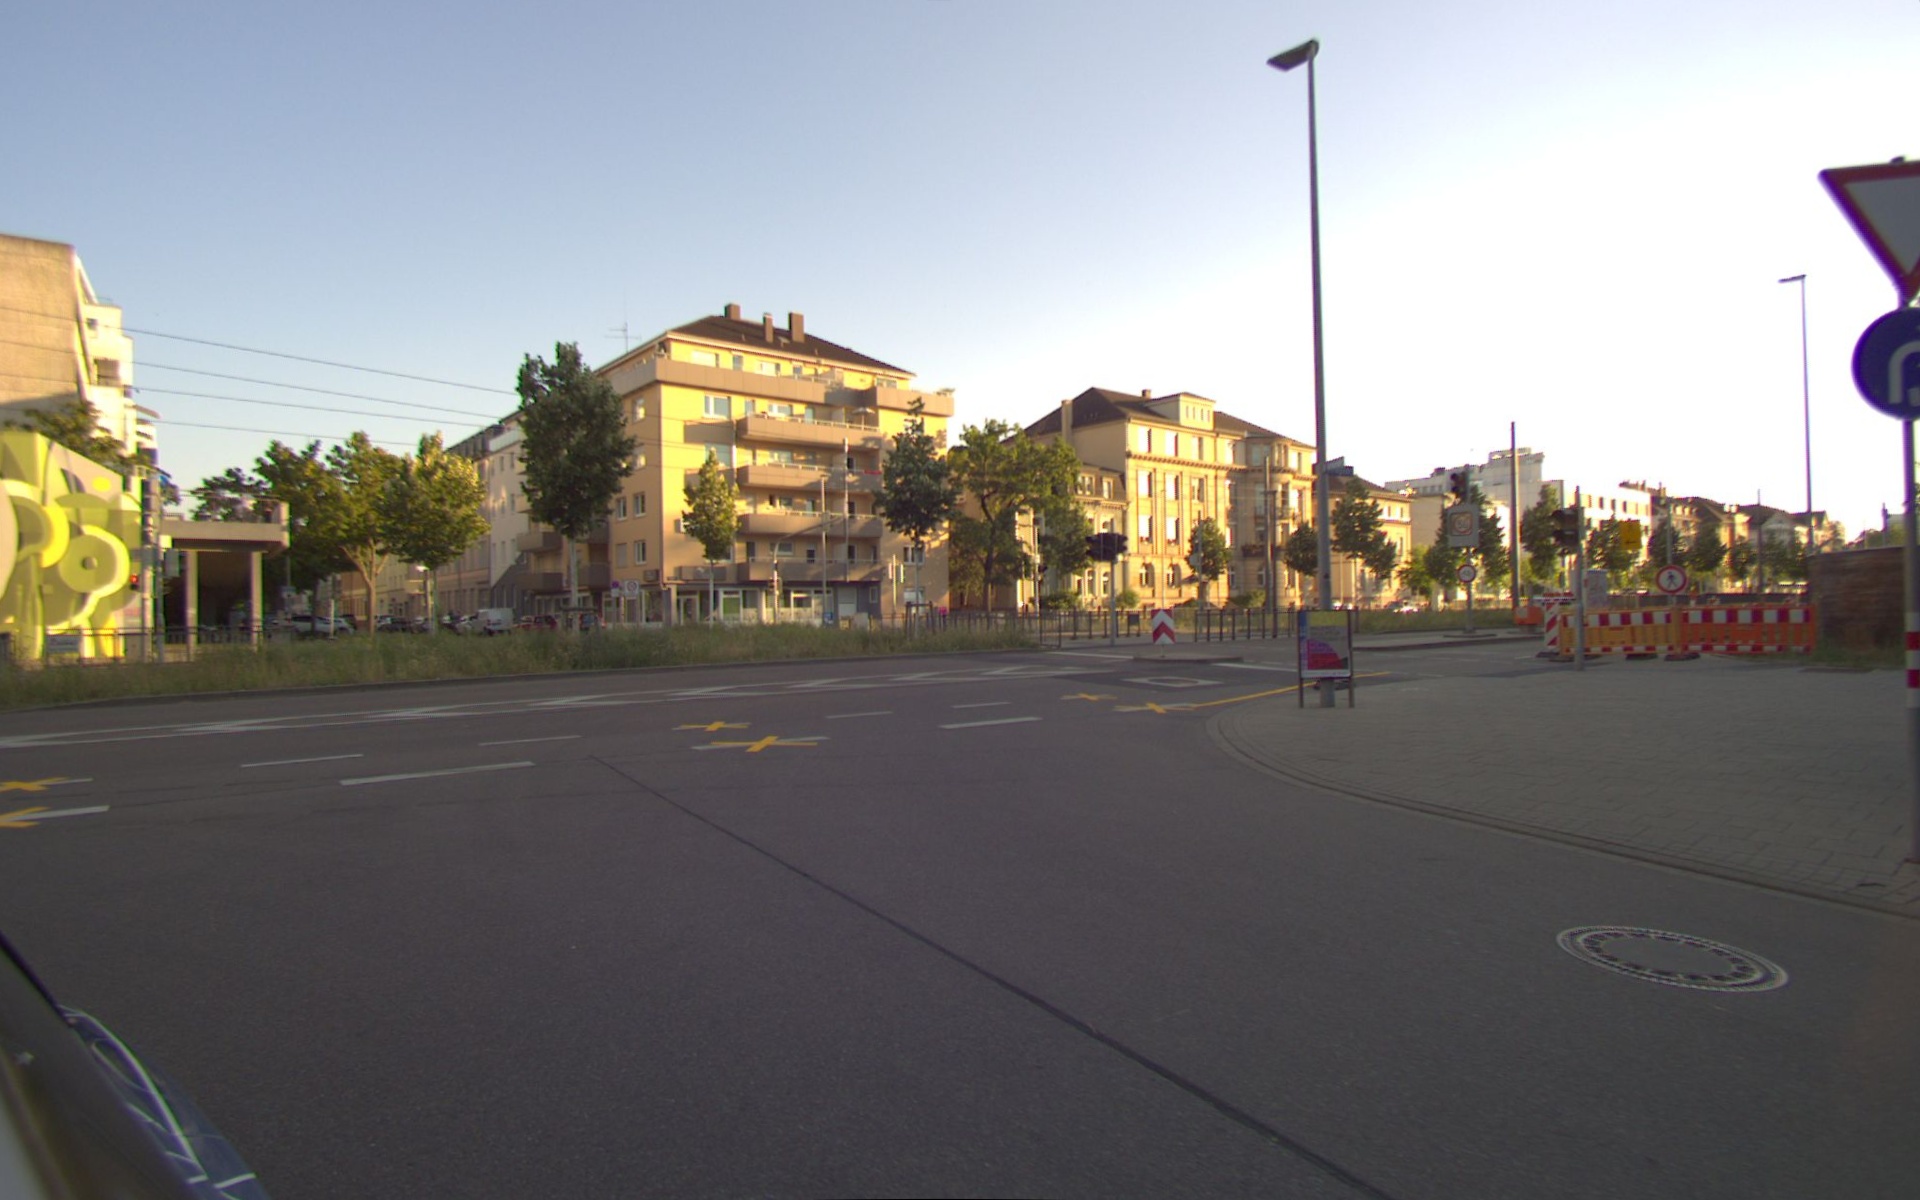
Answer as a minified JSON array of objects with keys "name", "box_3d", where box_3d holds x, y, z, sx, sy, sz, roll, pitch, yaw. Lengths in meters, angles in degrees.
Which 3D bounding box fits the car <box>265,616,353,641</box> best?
[{"name":"car","box_3d":[-41.836,1.813,65.107,4.571,1.408,2.003,-1,0,-40]}]

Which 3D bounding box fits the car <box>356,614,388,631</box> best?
[{"name":"car","box_3d":[-57.195,2.157,98.447,1.969,1.541,4.006,-1,0,-40]}]

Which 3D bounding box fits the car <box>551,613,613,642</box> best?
[{"name":"car","box_3d":[-21.070,1.515,56.295,1.969,1.497,4.006,-1,0,-40]}]

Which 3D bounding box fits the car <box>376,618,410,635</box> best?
[{"name":"car","box_3d":[-51.939,2.419,92.613,1.969,1.541,4.006,-1,0,-40]}]

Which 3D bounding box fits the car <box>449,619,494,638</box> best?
[{"name":"car","box_3d":[-35.615,2.064,73.725,1.969,1.253,4.006,-1,0,-40]}]

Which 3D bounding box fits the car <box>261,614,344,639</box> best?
[{"name":"car","box_3d":[-44.953,1.812,69.212,4.571,1.572,2.003,-1,0,-40]}]

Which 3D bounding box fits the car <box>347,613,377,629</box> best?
[{"name":"car","box_3d":[-60.652,2.116,102.574,1.969,1.541,4.006,-1,0,-40]}]

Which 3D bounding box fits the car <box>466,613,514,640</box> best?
[{"name":"car","box_3d":[-32.079,1.766,69.088,1.969,1.763,4.006,-1,0,-40]}]

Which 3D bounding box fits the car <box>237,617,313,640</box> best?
[{"name":"car","box_3d":[-51.626,2.135,76.316,4.571,1.572,2.003,-1,0,-40]}]

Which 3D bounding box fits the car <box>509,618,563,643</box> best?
[{"name":"car","box_3d":[-26.333,1.870,62.815,1.969,1.497,4.006,-1,0,-40]}]

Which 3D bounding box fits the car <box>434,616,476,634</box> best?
[{"name":"car","box_3d":[-38.556,1.888,77.179,1.969,1.253,4.006,-1,0,-40]}]

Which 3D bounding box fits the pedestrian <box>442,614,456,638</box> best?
[{"name":"pedestrian","box_3d":[-43.687,2.215,86.495,0.878,2.029,0.772,0,-1,-41]}]

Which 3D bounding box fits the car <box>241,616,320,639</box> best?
[{"name":"car","box_3d":[-49.480,1.974,73.716,4.571,1.572,2.003,-1,0,-40]}]

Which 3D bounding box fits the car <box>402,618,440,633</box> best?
[{"name":"car","box_3d":[-45.011,2.115,84.431,1.969,1.253,4.006,-1,0,-40]}]
